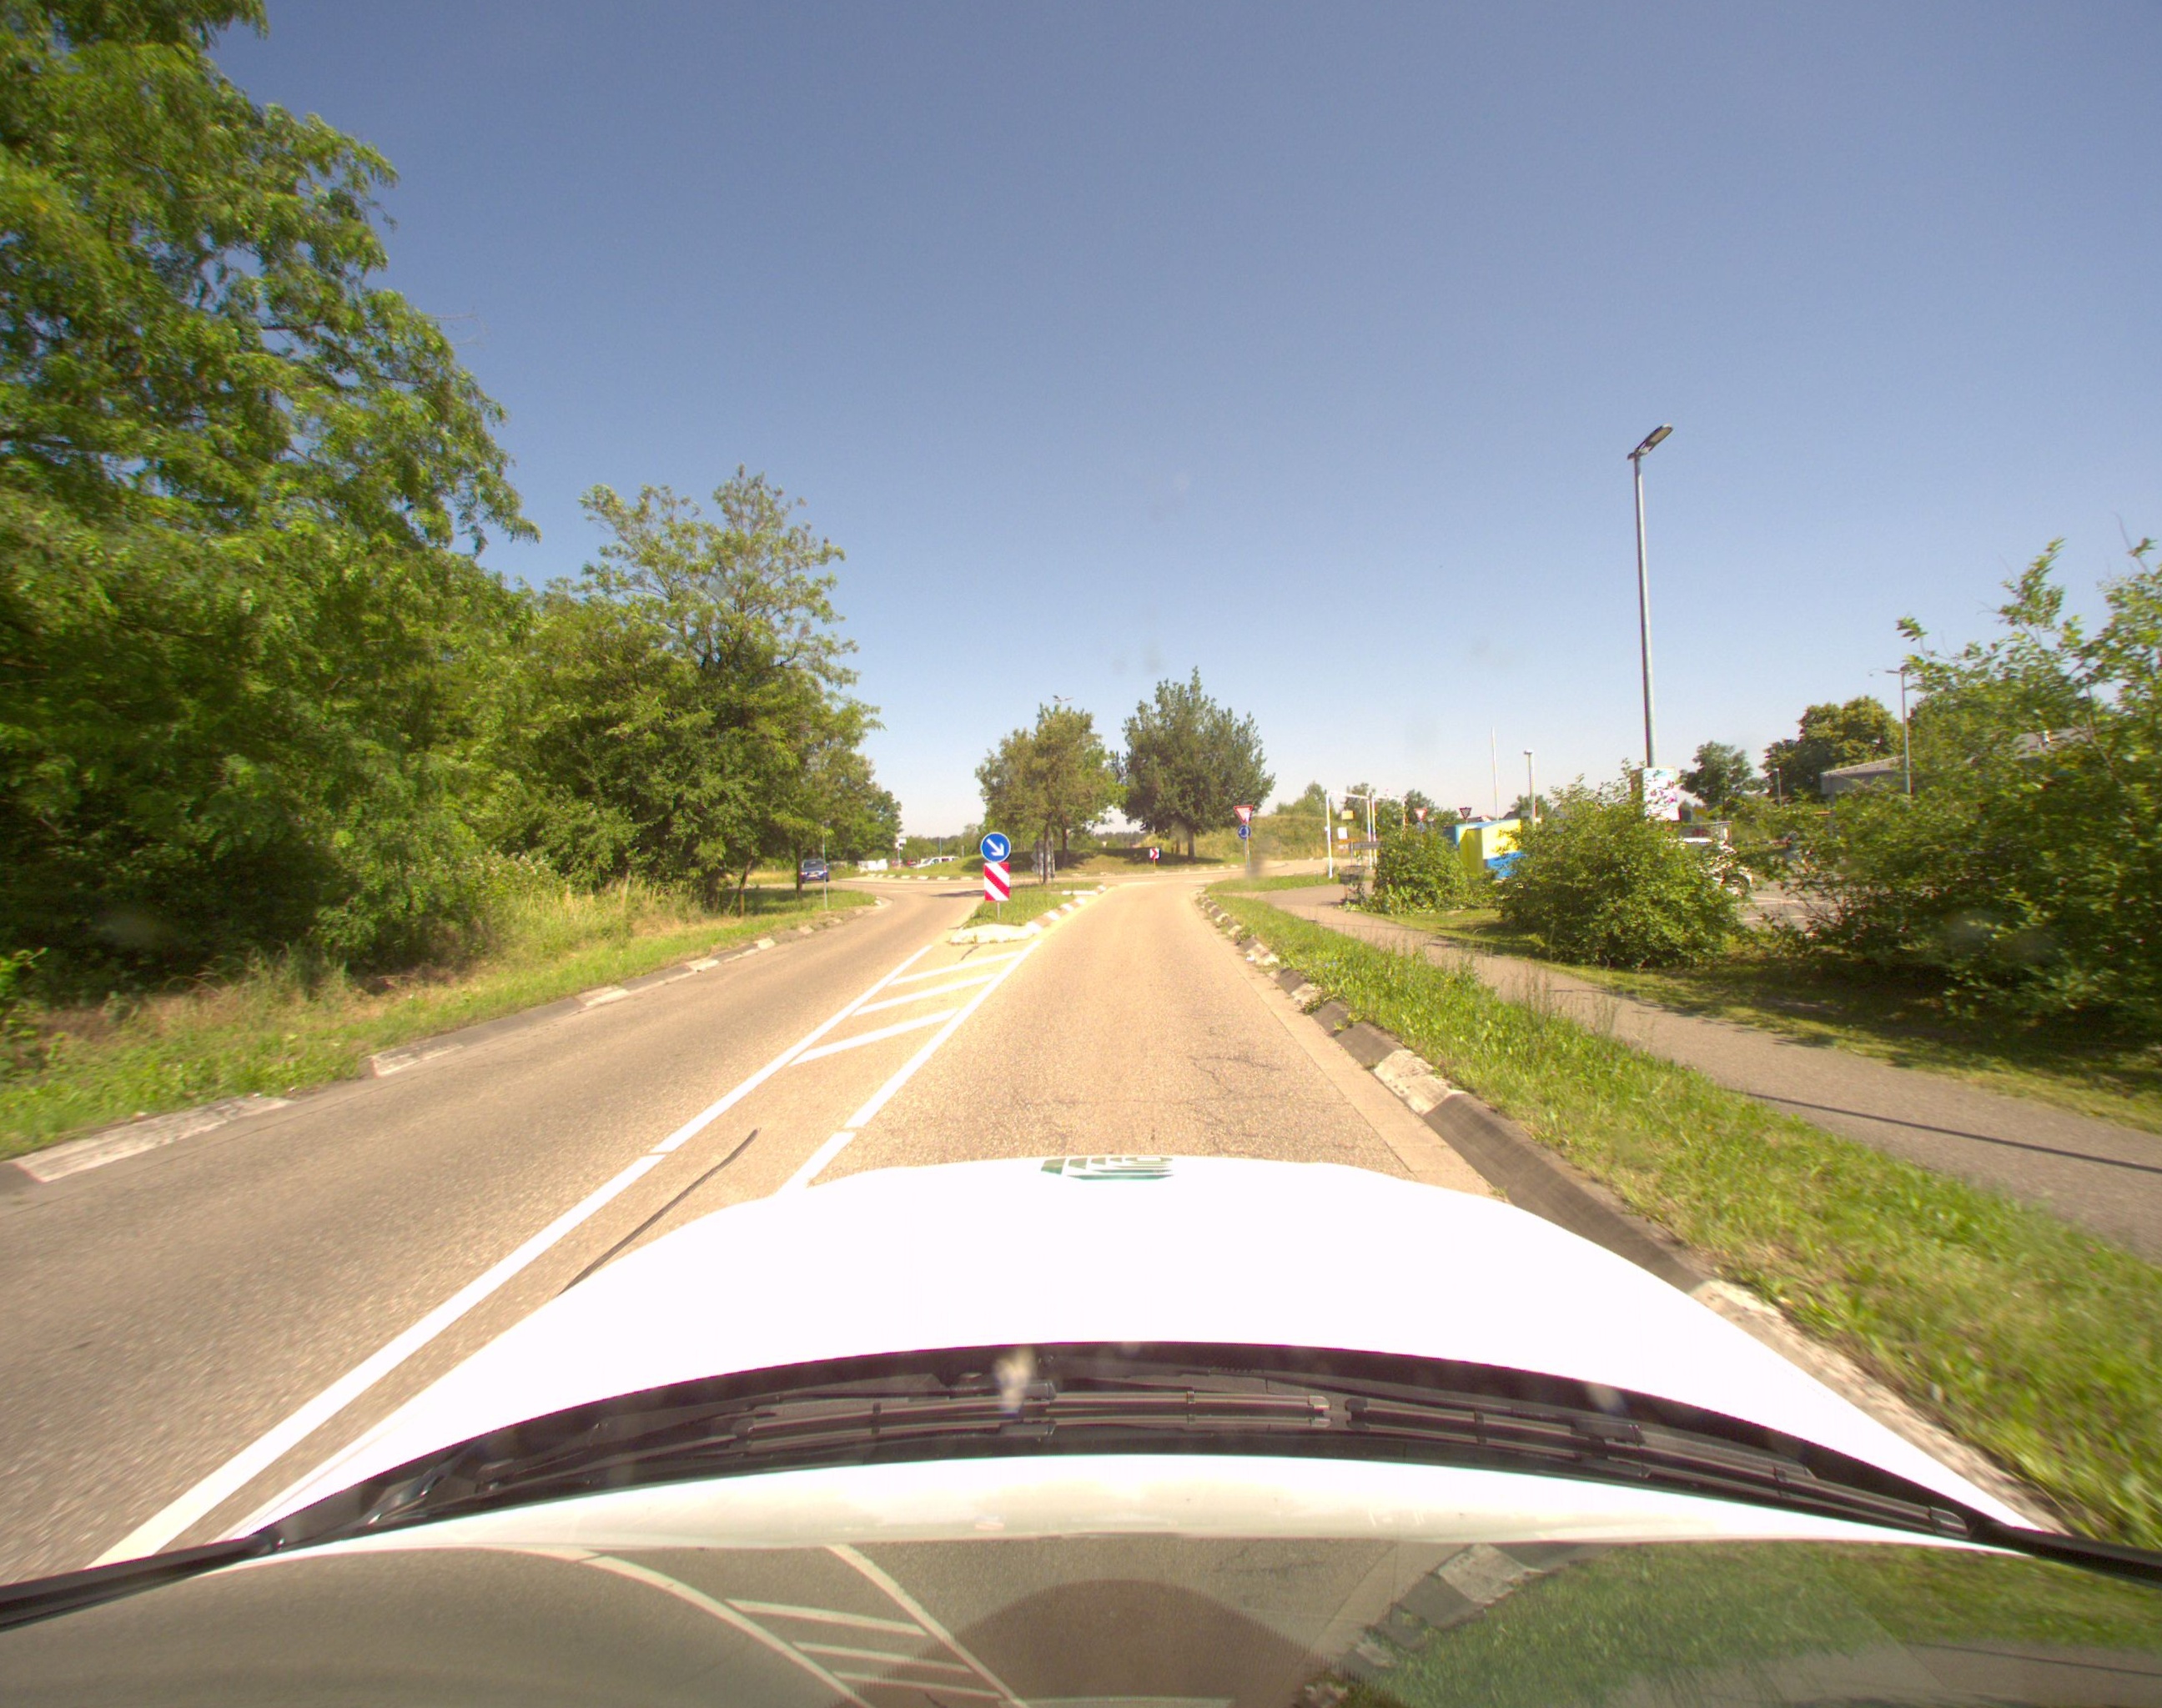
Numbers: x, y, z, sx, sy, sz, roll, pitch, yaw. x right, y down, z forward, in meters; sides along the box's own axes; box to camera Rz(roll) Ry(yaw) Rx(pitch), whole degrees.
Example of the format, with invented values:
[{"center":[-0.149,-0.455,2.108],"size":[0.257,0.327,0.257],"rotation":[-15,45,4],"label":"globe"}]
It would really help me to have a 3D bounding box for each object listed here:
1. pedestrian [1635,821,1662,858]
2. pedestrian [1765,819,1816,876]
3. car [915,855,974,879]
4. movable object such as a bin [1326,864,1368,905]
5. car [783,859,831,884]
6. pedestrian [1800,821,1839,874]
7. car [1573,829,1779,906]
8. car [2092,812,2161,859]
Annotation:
[{"center":[29.275,-0.728,42.001],"size":[0.776,1.871,0.833],"rotation":[-2,0,-27],"label":"pedestrian"},{"center":[22.628,-0.205,25.986],"size":[0.879,1.785,0.838],"rotation":[-2,0,-15],"label":"pedestrian"},{"center":[-11.493,1.079,68.870],"size":[4.621,1.816,1.877],"rotation":[-3,0,-42],"label":"car"},{"center":[7.747,0.871,23.668],"size":[0.859,1.120,1.464],"rotation":[-2,0,29],"label":"movable object such as a bin"},{"center":[-16.897,1.065,50.108],"size":[1.845,1.387,4.379],"rotation":[-3,1,-31],"label":"car"},{"center":[23.764,-0.213,26.198],"size":[0.702,1.648,0.594],"rotation":[-2,0,-13],"label":"pedestrian"},{"center":[14.160,0.312,19.541],"size":[3.582,1.562,1.814],"rotation":[-3,0,0],"label":"car"},{"center":[38.976,-0.693,29.539],"size":[4.005,1.622,1.898],"rotation":[-2,0,-24],"label":"car"}]
